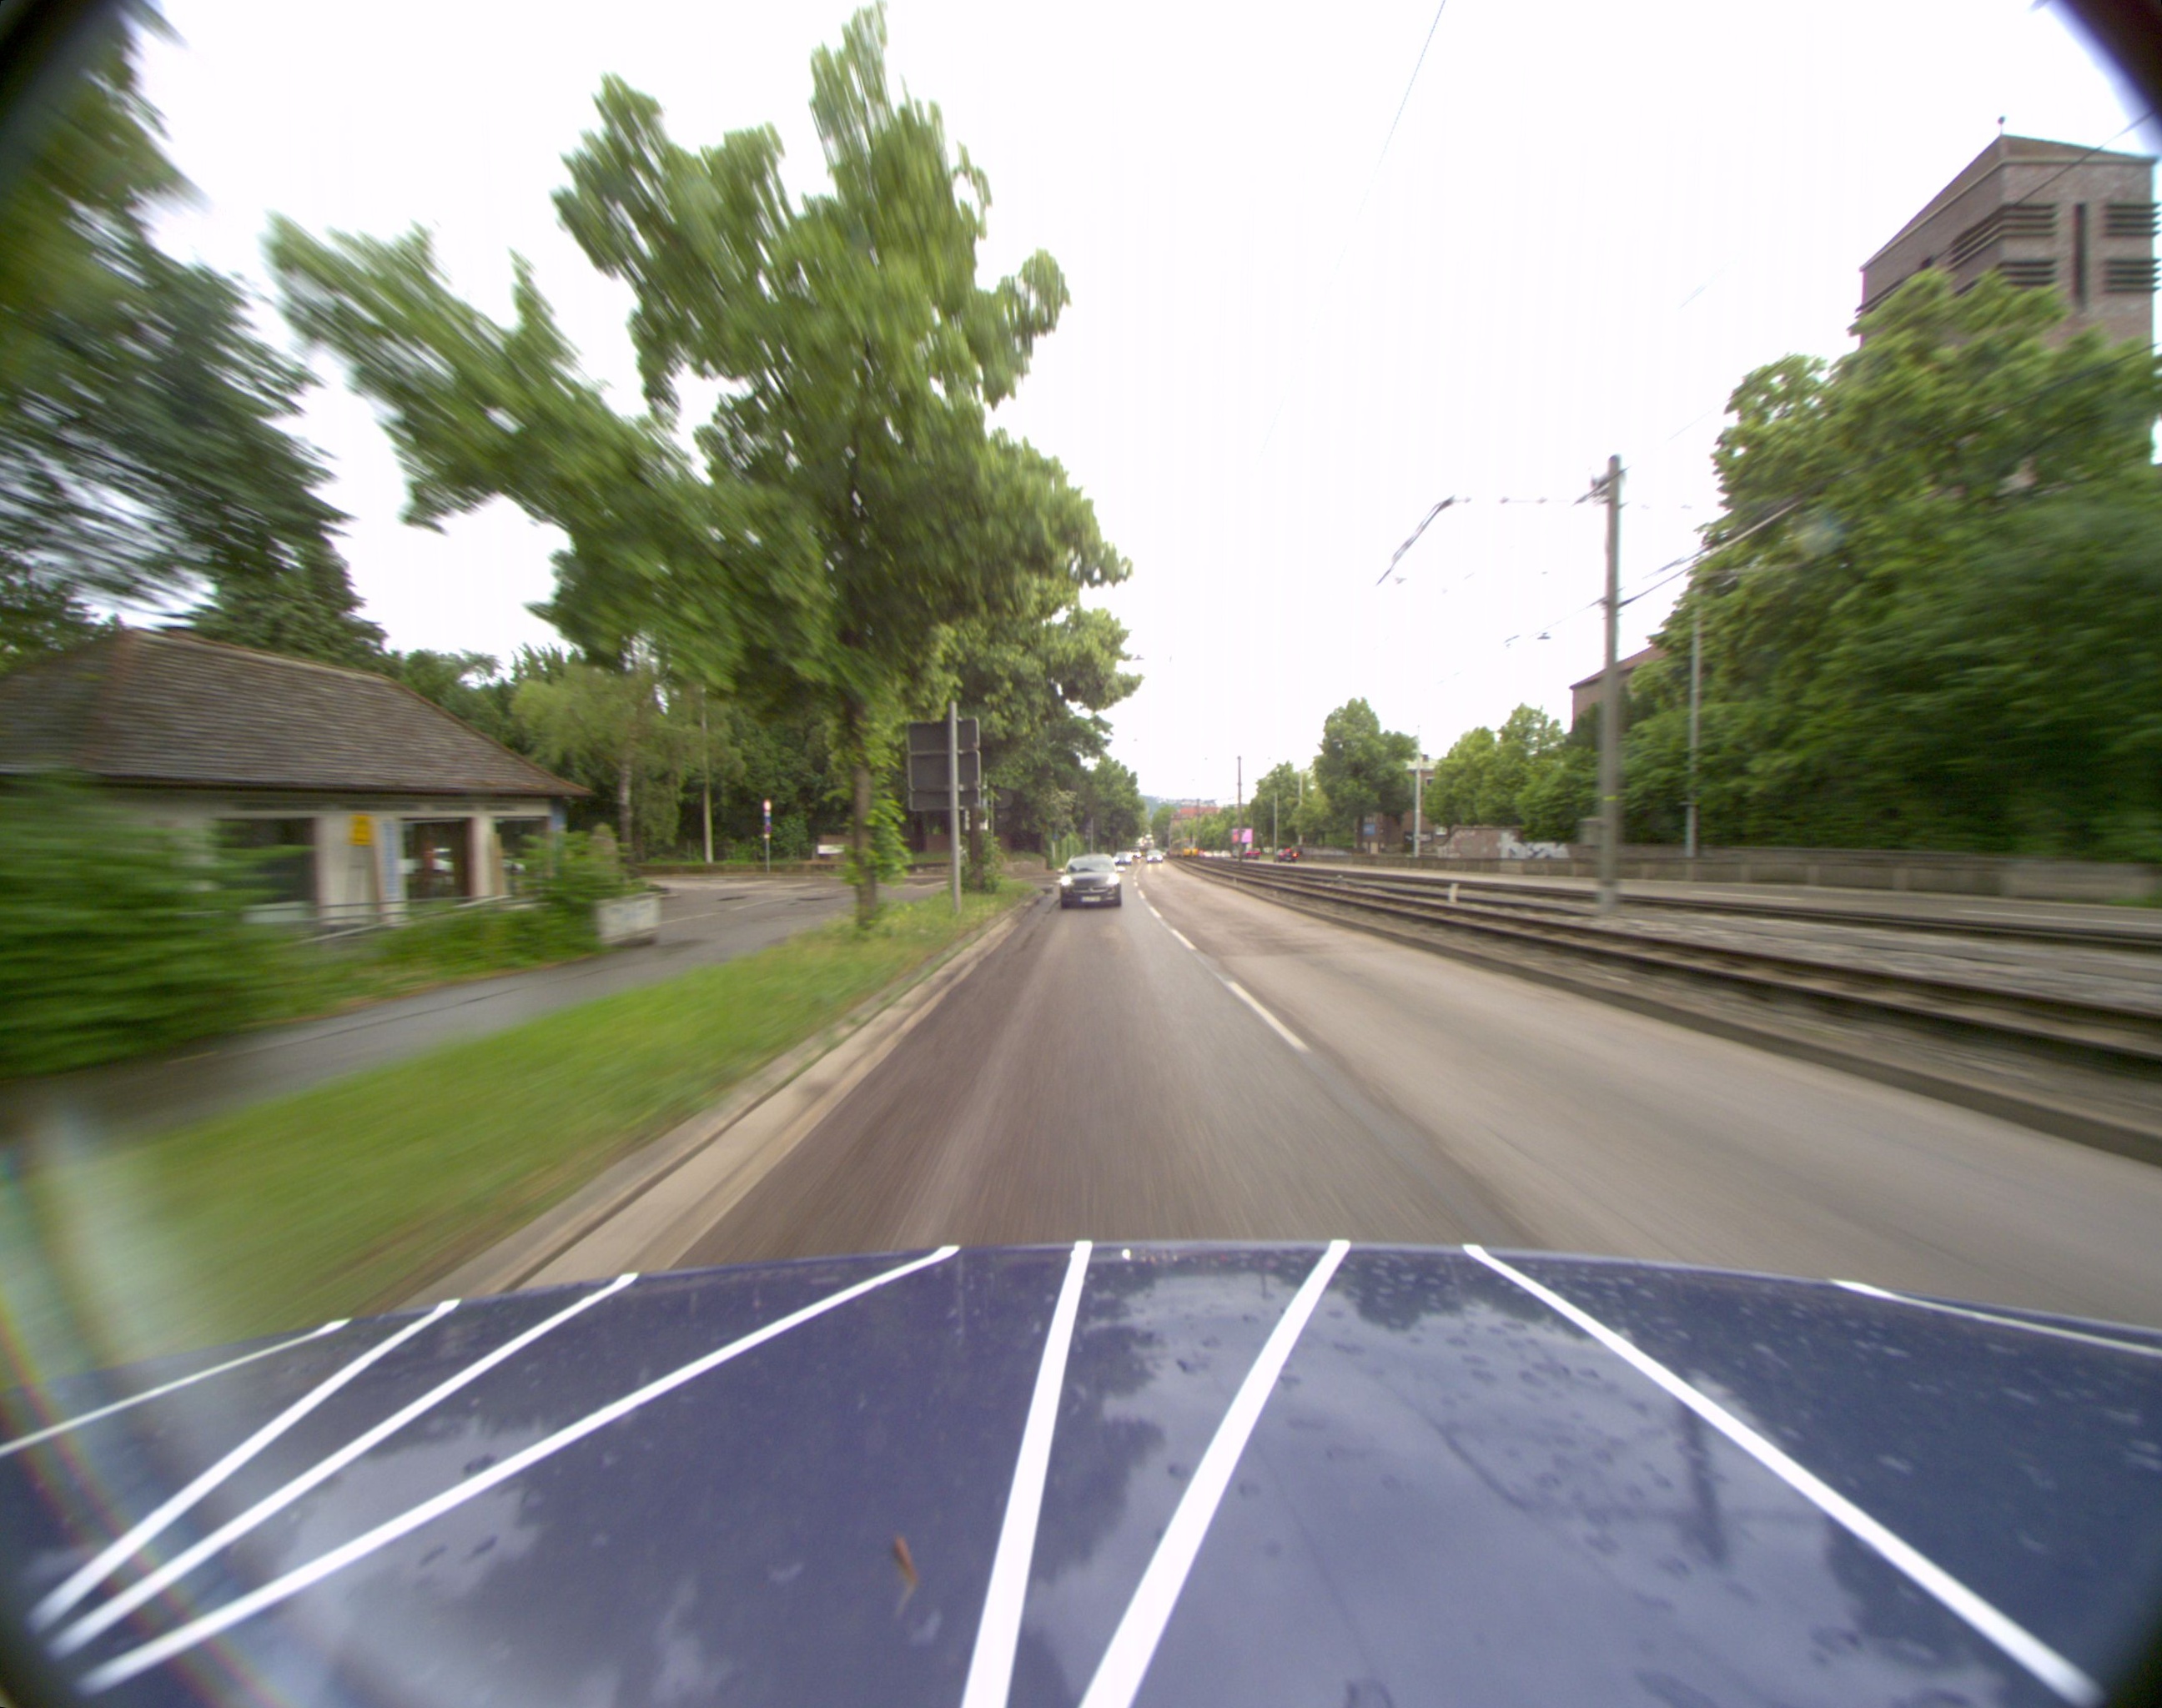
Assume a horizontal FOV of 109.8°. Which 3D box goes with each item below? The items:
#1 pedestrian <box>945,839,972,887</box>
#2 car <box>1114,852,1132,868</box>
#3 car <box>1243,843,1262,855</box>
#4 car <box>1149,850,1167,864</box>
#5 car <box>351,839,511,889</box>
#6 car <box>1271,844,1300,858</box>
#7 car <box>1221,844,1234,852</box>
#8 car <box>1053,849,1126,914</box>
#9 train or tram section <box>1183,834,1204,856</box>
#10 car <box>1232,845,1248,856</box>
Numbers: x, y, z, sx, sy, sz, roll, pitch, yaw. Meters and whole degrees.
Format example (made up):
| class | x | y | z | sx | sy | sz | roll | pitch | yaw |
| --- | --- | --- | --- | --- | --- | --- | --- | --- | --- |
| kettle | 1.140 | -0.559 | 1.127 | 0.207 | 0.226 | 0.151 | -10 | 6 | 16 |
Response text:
| class | x | y | z | sx | sy | sz | roll | pitch | yaw |
| --- | --- | --- | --- | --- | --- | --- | --- | --- | --- |
| pedestrian | -4.757 | 0.353 | 29.455 | 0.856 | 1.843 | 0.737 | 0 | 1 | 5 |
| car | 4.383 | 0.619 | 79.694 | 1.769 | 1.503 | 4.340 | -1 | 1 | 1 |
| car | 24.170 | -0.782 | 107.188 | 1.998 | 1.634 | 4.525 | 1 | 1 | 3 |
| car | 8.738 | 0.333 | 86.209 | 1.768 | 1.503 | 4.343 | -1 | 1 | 9 |
| car | -22.232 | 0.313 | 26.132 | 1.828 | 1.569 | 3.769 | 1 | 1 | 30 |
| car | 21.568 | -0.363 | 80.254 | 1.970 | 1.433 | 4.321 | 0 | 1 | 2 |
| car | 27.238 | -1.066 | 141.030 | 1.751 | 1.459 | 3.985 | 2 | 1 | 3 |
| car | 0.304 | 0.677 | 21.317 | 1.746 | 1.544 | 4.494 | -3 | 0 | 2 |
| train or tram section | 21.624 | -1.754 | 147.207 | 2.834 | 3.953 | 17.880 | -1 | 1 | 5 |
| car | 25.910 | -0.565 | 123.806 | 1.998 | 1.634 | 4.412 | 1 | 1 | 3 |
